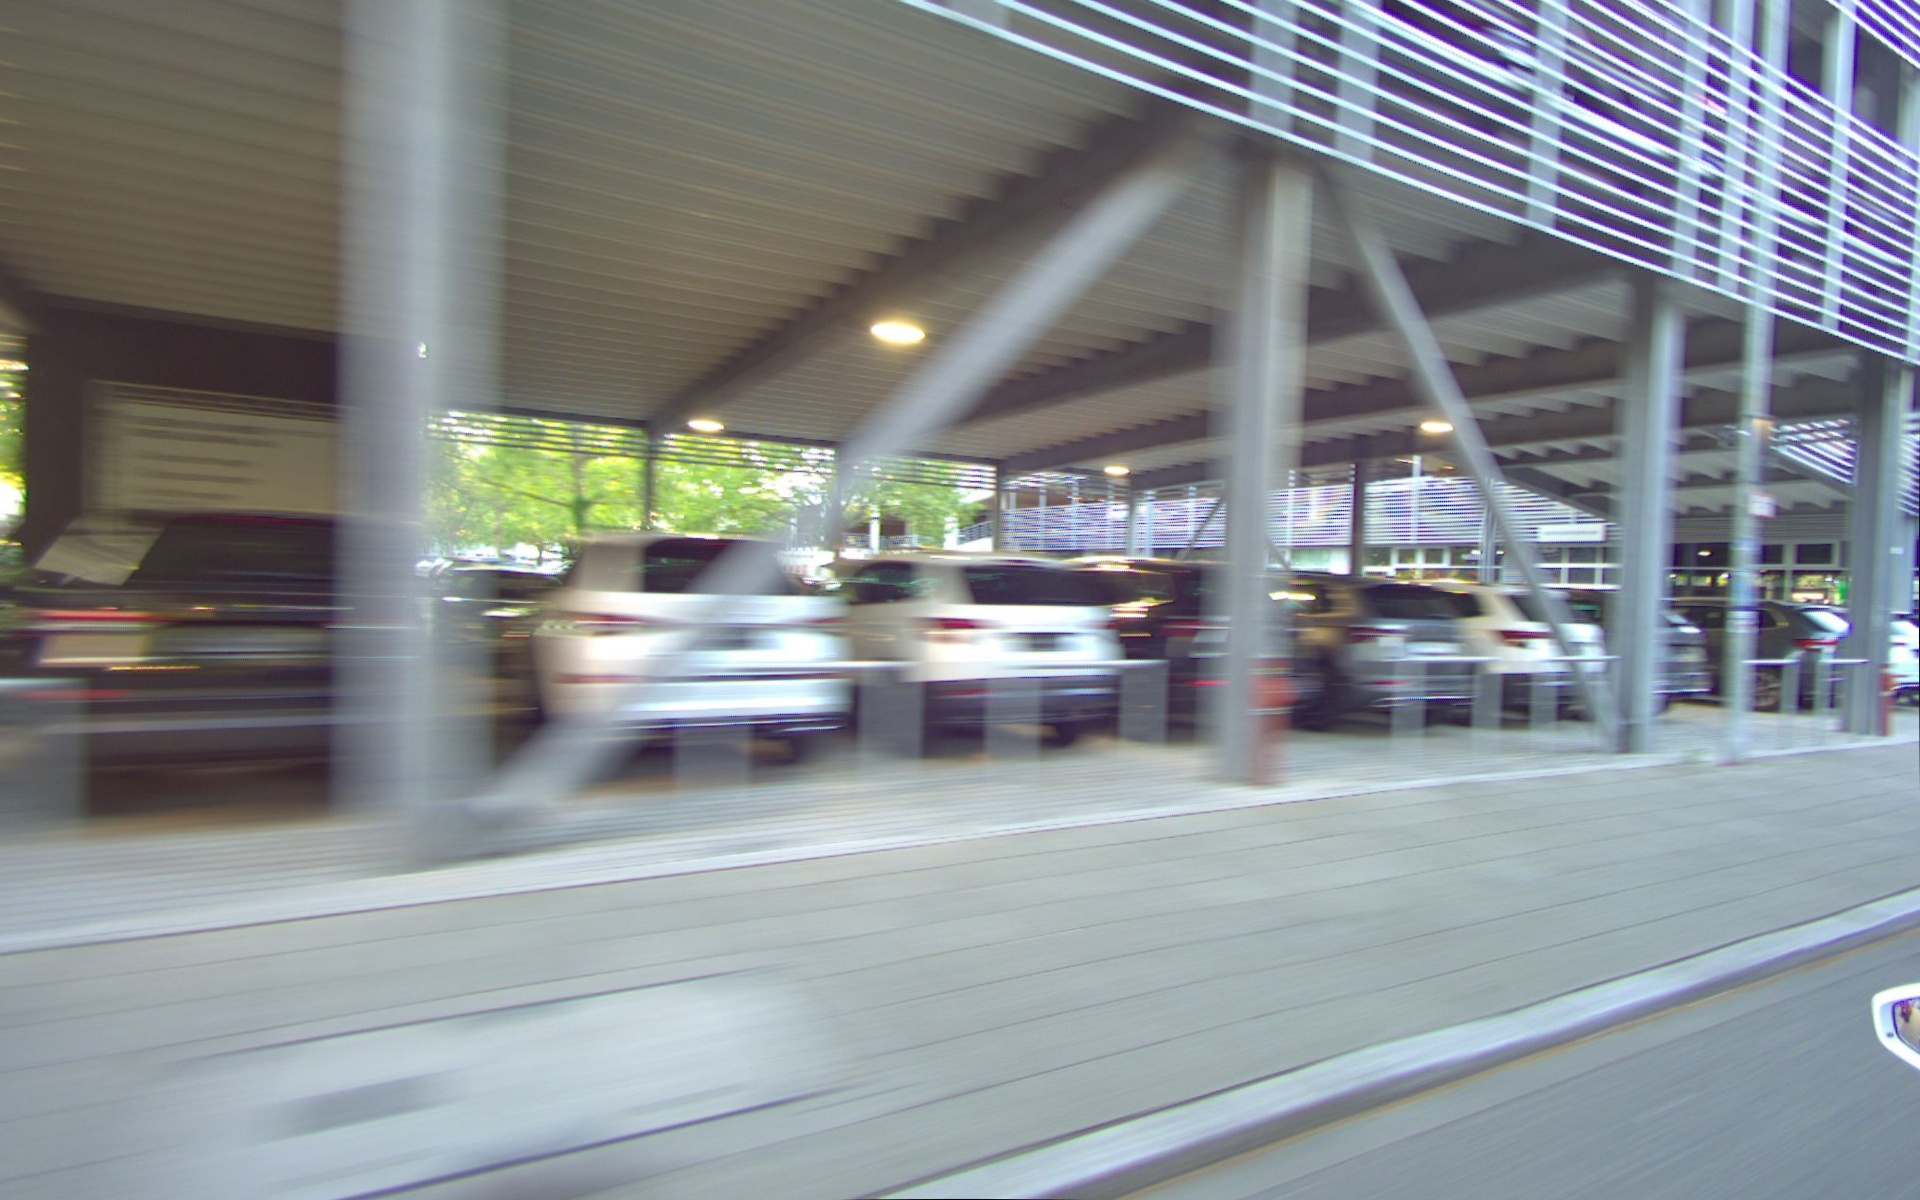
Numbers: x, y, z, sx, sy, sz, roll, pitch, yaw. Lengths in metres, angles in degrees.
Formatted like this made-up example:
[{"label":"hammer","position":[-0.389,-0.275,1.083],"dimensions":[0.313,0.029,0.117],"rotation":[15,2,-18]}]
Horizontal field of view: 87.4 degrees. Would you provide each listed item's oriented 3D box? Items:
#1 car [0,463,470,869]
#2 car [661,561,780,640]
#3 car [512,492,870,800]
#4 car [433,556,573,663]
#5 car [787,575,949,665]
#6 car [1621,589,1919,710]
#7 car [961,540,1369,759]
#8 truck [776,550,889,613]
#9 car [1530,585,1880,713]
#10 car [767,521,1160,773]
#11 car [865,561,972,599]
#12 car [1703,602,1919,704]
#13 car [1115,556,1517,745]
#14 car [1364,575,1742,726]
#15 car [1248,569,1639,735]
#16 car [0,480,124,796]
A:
[{"label":"car","position":[-4.241,0.235,6.459],"dimensions":[1.837,1.706,4.132],"rotation":[0,1,-28]},{"label":"car","position":[-5.785,-0.030,23.924],"dimensions":[1.837,1.706,4.007],"rotation":[0,1,-28]},{"label":"car","position":[-2.325,0.216,7.775],"dimensions":[1.837,1.706,4.009],"rotation":[0,1,-28]},{"label":"car","position":[-7.596,0.084,16.472],"dimensions":[1.837,1.507,4.319],"rotation":[0,1,-28]},{"label":"car","position":[-1.948,0.327,20.003],"dimensions":[1.837,1.579,3.970],"rotation":[0,1,-28]},{"label":"car","position":[13.850,0.716,16.991],"dimensions":[1.837,1.706,4.063],"rotation":[0,1,-28]},{"label":"car","position":[1.776,0.344,10.075],"dimensions":[1.837,1.706,4.086],"rotation":[0,1,-28]},{"label":"truck","position":[-5.890,-0.893,45.464],"dimensions":[2.417,2.603,6.879],"rotation":[1,1,-32]},{"label":"car","position":[11.649,0.650,16.028],"dimensions":[1.837,1.706,4.070],"rotation":[0,1,-28]},{"label":"car","position":[-0.240,0.276,9.029],"dimensions":[1.837,1.706,4.067],"rotation":[0,1,-28]},{"label":"car","position":[-1.902,-0.908,46.210],"dimensions":[4.341,1.595,2.283],"rotation":[1,1,-33]},{"label":"car","position":[16.167,0.941,18.161],"dimensions":[1.839,1.607,3.966],"rotation":[3,0,-31]},{"label":"car","position":[3.719,0.412,11.276],"dimensions":[1.837,1.706,4.086],"rotation":[0,1,-28]},{"label":"car","position":[7.804,0.537,13.659],"dimensions":[1.837,1.706,4.047],"rotation":[0,1,-28]},{"label":"car","position":[5.751,0.487,12.515],"dimensions":[1.837,1.706,4.086],"rotation":[0,1,-28]},{"label":"car","position":[-6.176,0.189,5.345],"dimensions":[1.837,1.706,4.019],"rotation":[0,1,-28]}]
